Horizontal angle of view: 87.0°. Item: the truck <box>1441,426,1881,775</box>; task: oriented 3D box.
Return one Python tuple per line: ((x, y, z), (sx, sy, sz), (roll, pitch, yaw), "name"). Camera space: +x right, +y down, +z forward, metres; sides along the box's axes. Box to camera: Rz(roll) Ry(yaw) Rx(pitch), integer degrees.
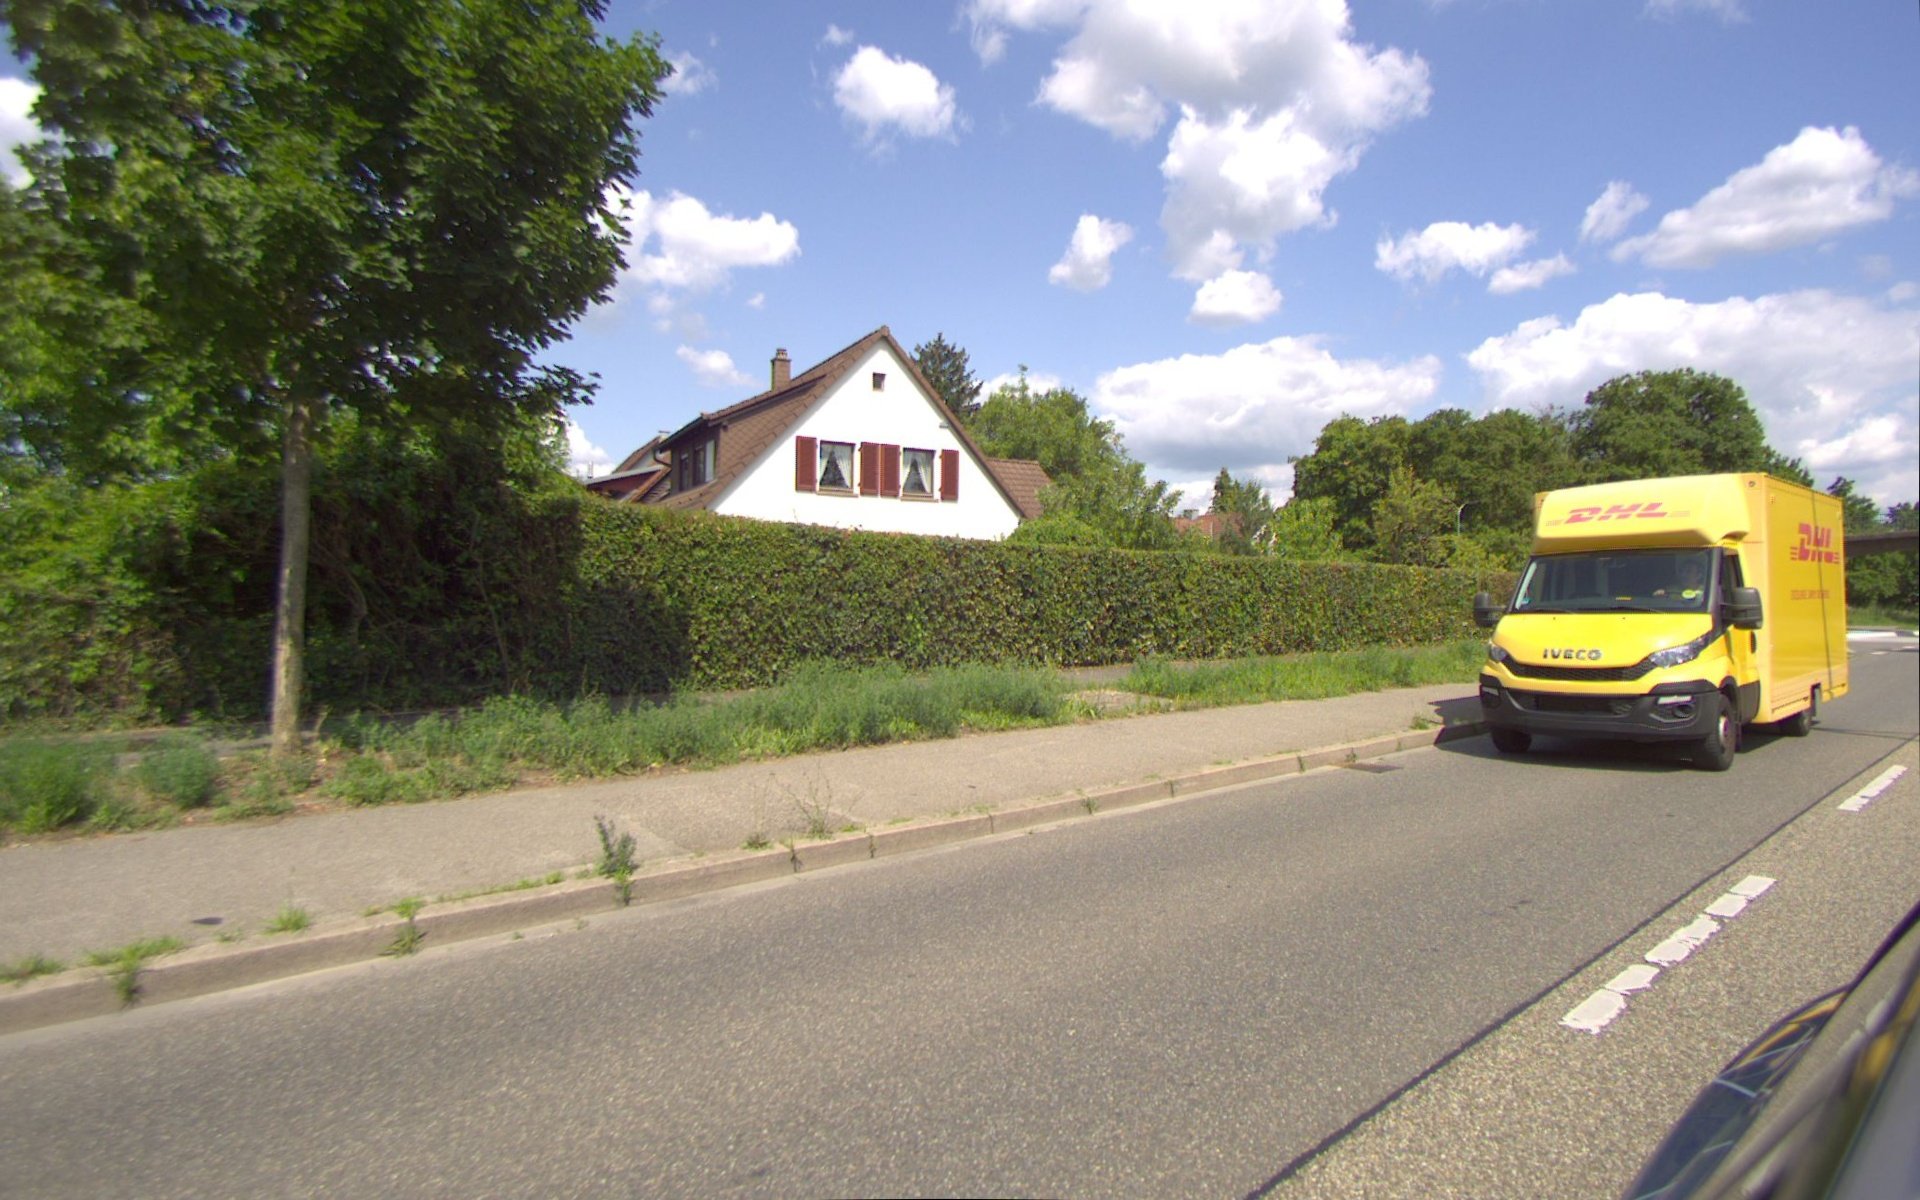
((8.603, 0.011, 11.901), (7.885, 2.917, 2.269), (0, -1, -40), "truck")
